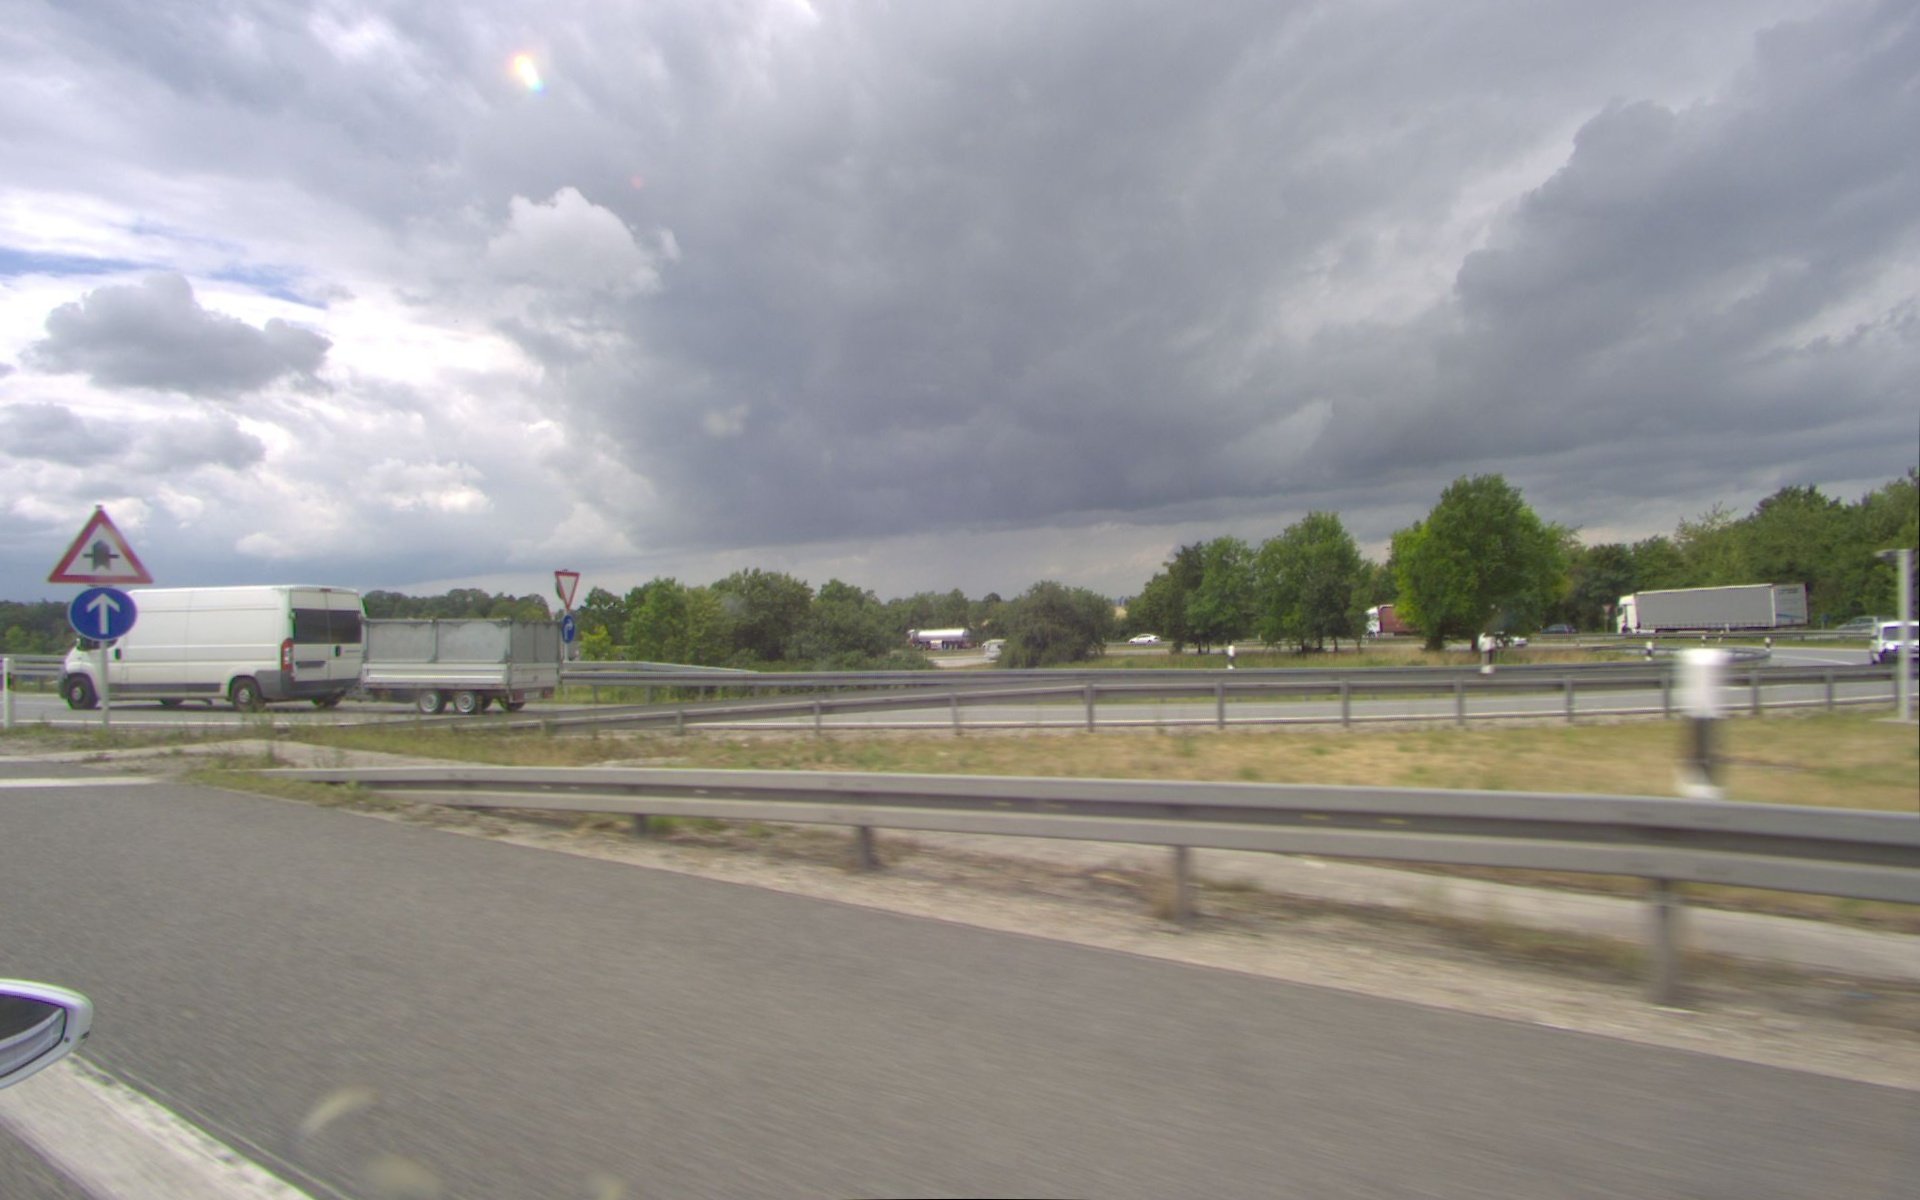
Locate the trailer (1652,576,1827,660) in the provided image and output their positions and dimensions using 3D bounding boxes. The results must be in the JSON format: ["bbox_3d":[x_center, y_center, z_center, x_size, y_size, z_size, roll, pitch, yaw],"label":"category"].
[{"bbox_3d":[61.253,1.512,79.376,3.940,6.166,12.099,0,-2,-3],"label":"trailer"}]

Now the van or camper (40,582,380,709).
[{"bbox_3d":[-15.287,0.928,20.533,5.827,2.391,2.231,-1,-1,11],"label":"van or camper"}]

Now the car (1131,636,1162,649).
[{"bbox_3d":[26.317,5.945,141.483,3.959,1.807,1.887,-2,-2,44],"label":"car"}]

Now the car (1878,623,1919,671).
[{"bbox_3d":[36.497,1.803,38.414,1.782,1.771,3.966,-3,-4,43],"label":"car"}]

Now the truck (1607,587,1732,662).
[{"bbox_3d":[60.910,2.156,86.351,3.989,6.150,8.980,0,-2,-3],"label":"truck"}]

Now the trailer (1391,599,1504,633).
[{"bbox_3d":[53.180,1.863,109.837,3.086,3.492,11.641,0,-2,-27],"label":"trailer"}]

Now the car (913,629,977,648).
[{"bbox_3d":[-2.637,6.441,167.235,11.641,3.118,3.422,-2,-2,44],"label":"car"}]

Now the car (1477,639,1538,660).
[{"bbox_3d":[48.172,4.356,88.255,1.773,1.772,4.504,2,-2,-28],"label":"car"}]

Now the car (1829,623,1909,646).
[{"bbox_3d":[61.588,2.333,67.921,1.798,1.505,4.002,0,-2,1],"label":"car"}]

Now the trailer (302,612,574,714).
[{"bbox_3d":[-10.188,1.203,19.706,4.421,1.865,2.000,-1,-1,9],"label":"trailer"}]

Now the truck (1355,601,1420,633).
[{"bbox_3d":[49.736,2.018,116.619,3.073,3.544,6.578,0,-2,-27],"label":"truck"}]
